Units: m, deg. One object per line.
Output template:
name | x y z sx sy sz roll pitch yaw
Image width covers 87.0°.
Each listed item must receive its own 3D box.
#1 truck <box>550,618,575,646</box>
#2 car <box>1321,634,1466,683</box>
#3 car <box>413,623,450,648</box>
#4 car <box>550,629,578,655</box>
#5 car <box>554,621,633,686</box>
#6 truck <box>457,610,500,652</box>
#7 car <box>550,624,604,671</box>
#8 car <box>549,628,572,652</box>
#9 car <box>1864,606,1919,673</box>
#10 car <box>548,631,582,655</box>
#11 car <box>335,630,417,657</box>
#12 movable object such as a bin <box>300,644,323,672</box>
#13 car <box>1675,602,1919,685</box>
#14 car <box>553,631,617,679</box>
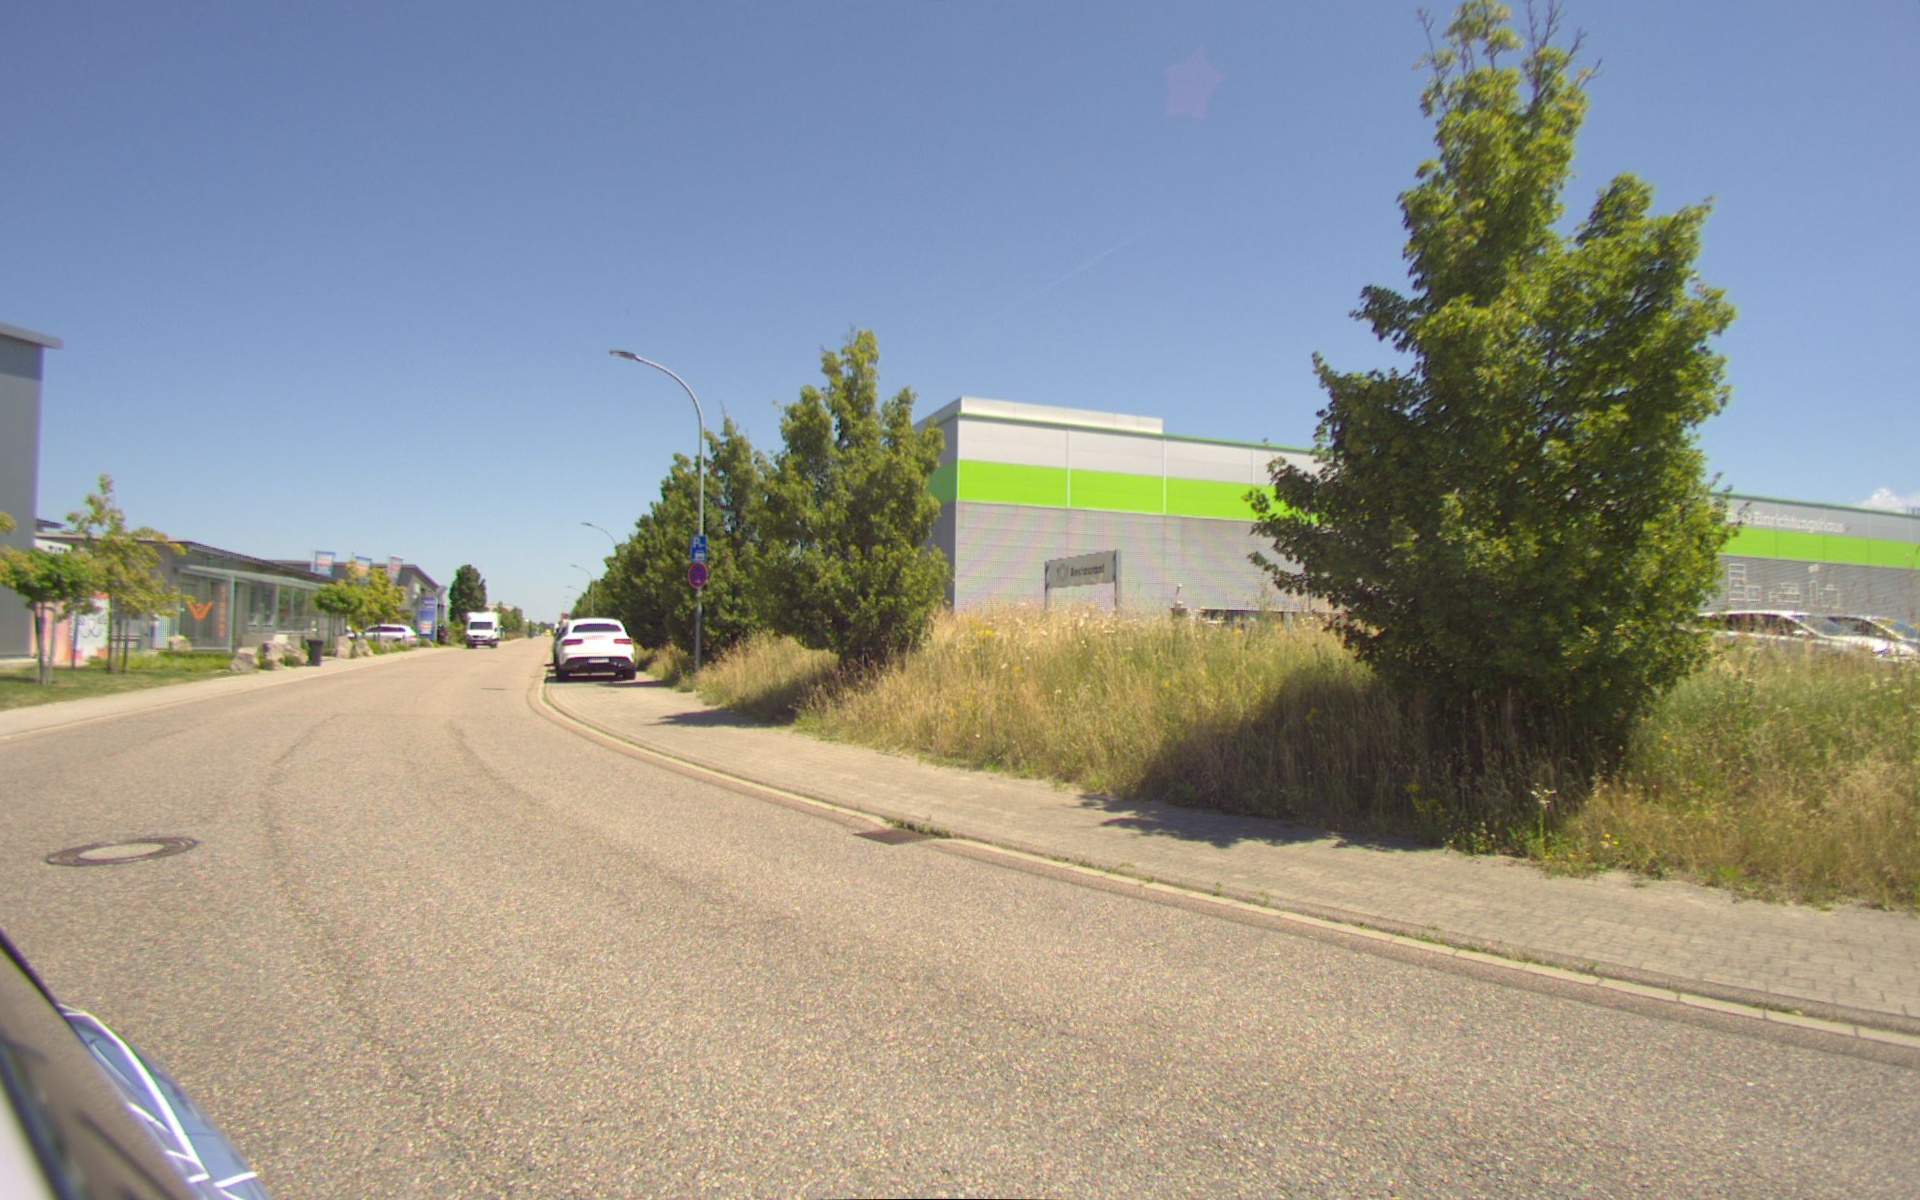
truck | -32.750 2.662 83.288 1.825 2.240 4.661 0 -2 -23
car | 12.810 1.709 30.187 1.465 1.335 4.013 1 -3 -24
car | -44.386 2.958 85.139 1.965 2.029 5.353 1 -2 -19
car | -28.581 3.003 73.060 1.825 1.772 5.002 0 -2 -21
car | -10.514 1.480 28.815 1.885 1.668 4.770 1 -2 -22
truck | -38.516 2.516 81.138 2.422 3.230 6.904 1 -2 -20
car | -15.256 1.872 40.165 1.885 1.726 4.427 0 -2 -22
car | -44.613 4.459 113.014 2.290 2.618 6.104 0 -2 -21
car | 23.636 0.900 23.061 1.965 1.556 4.013 1 -3 -24
car | -26.376 2.870 67.536 1.825 1.530 4.920 0 -2 -25
car | -36.206 2.711 62.884 4.219 1.553 1.919 3 -3 -25
movable object such as a bin | -22.474 1.998 35.088 0.550 0.954 0.541 2 -3 -23
car | 16.586 0.842 19.568 1.965 1.423 4.013 1 -3 -24
car | -12.705 1.819 34.163 1.885 1.503 4.427 1 -2 -22
